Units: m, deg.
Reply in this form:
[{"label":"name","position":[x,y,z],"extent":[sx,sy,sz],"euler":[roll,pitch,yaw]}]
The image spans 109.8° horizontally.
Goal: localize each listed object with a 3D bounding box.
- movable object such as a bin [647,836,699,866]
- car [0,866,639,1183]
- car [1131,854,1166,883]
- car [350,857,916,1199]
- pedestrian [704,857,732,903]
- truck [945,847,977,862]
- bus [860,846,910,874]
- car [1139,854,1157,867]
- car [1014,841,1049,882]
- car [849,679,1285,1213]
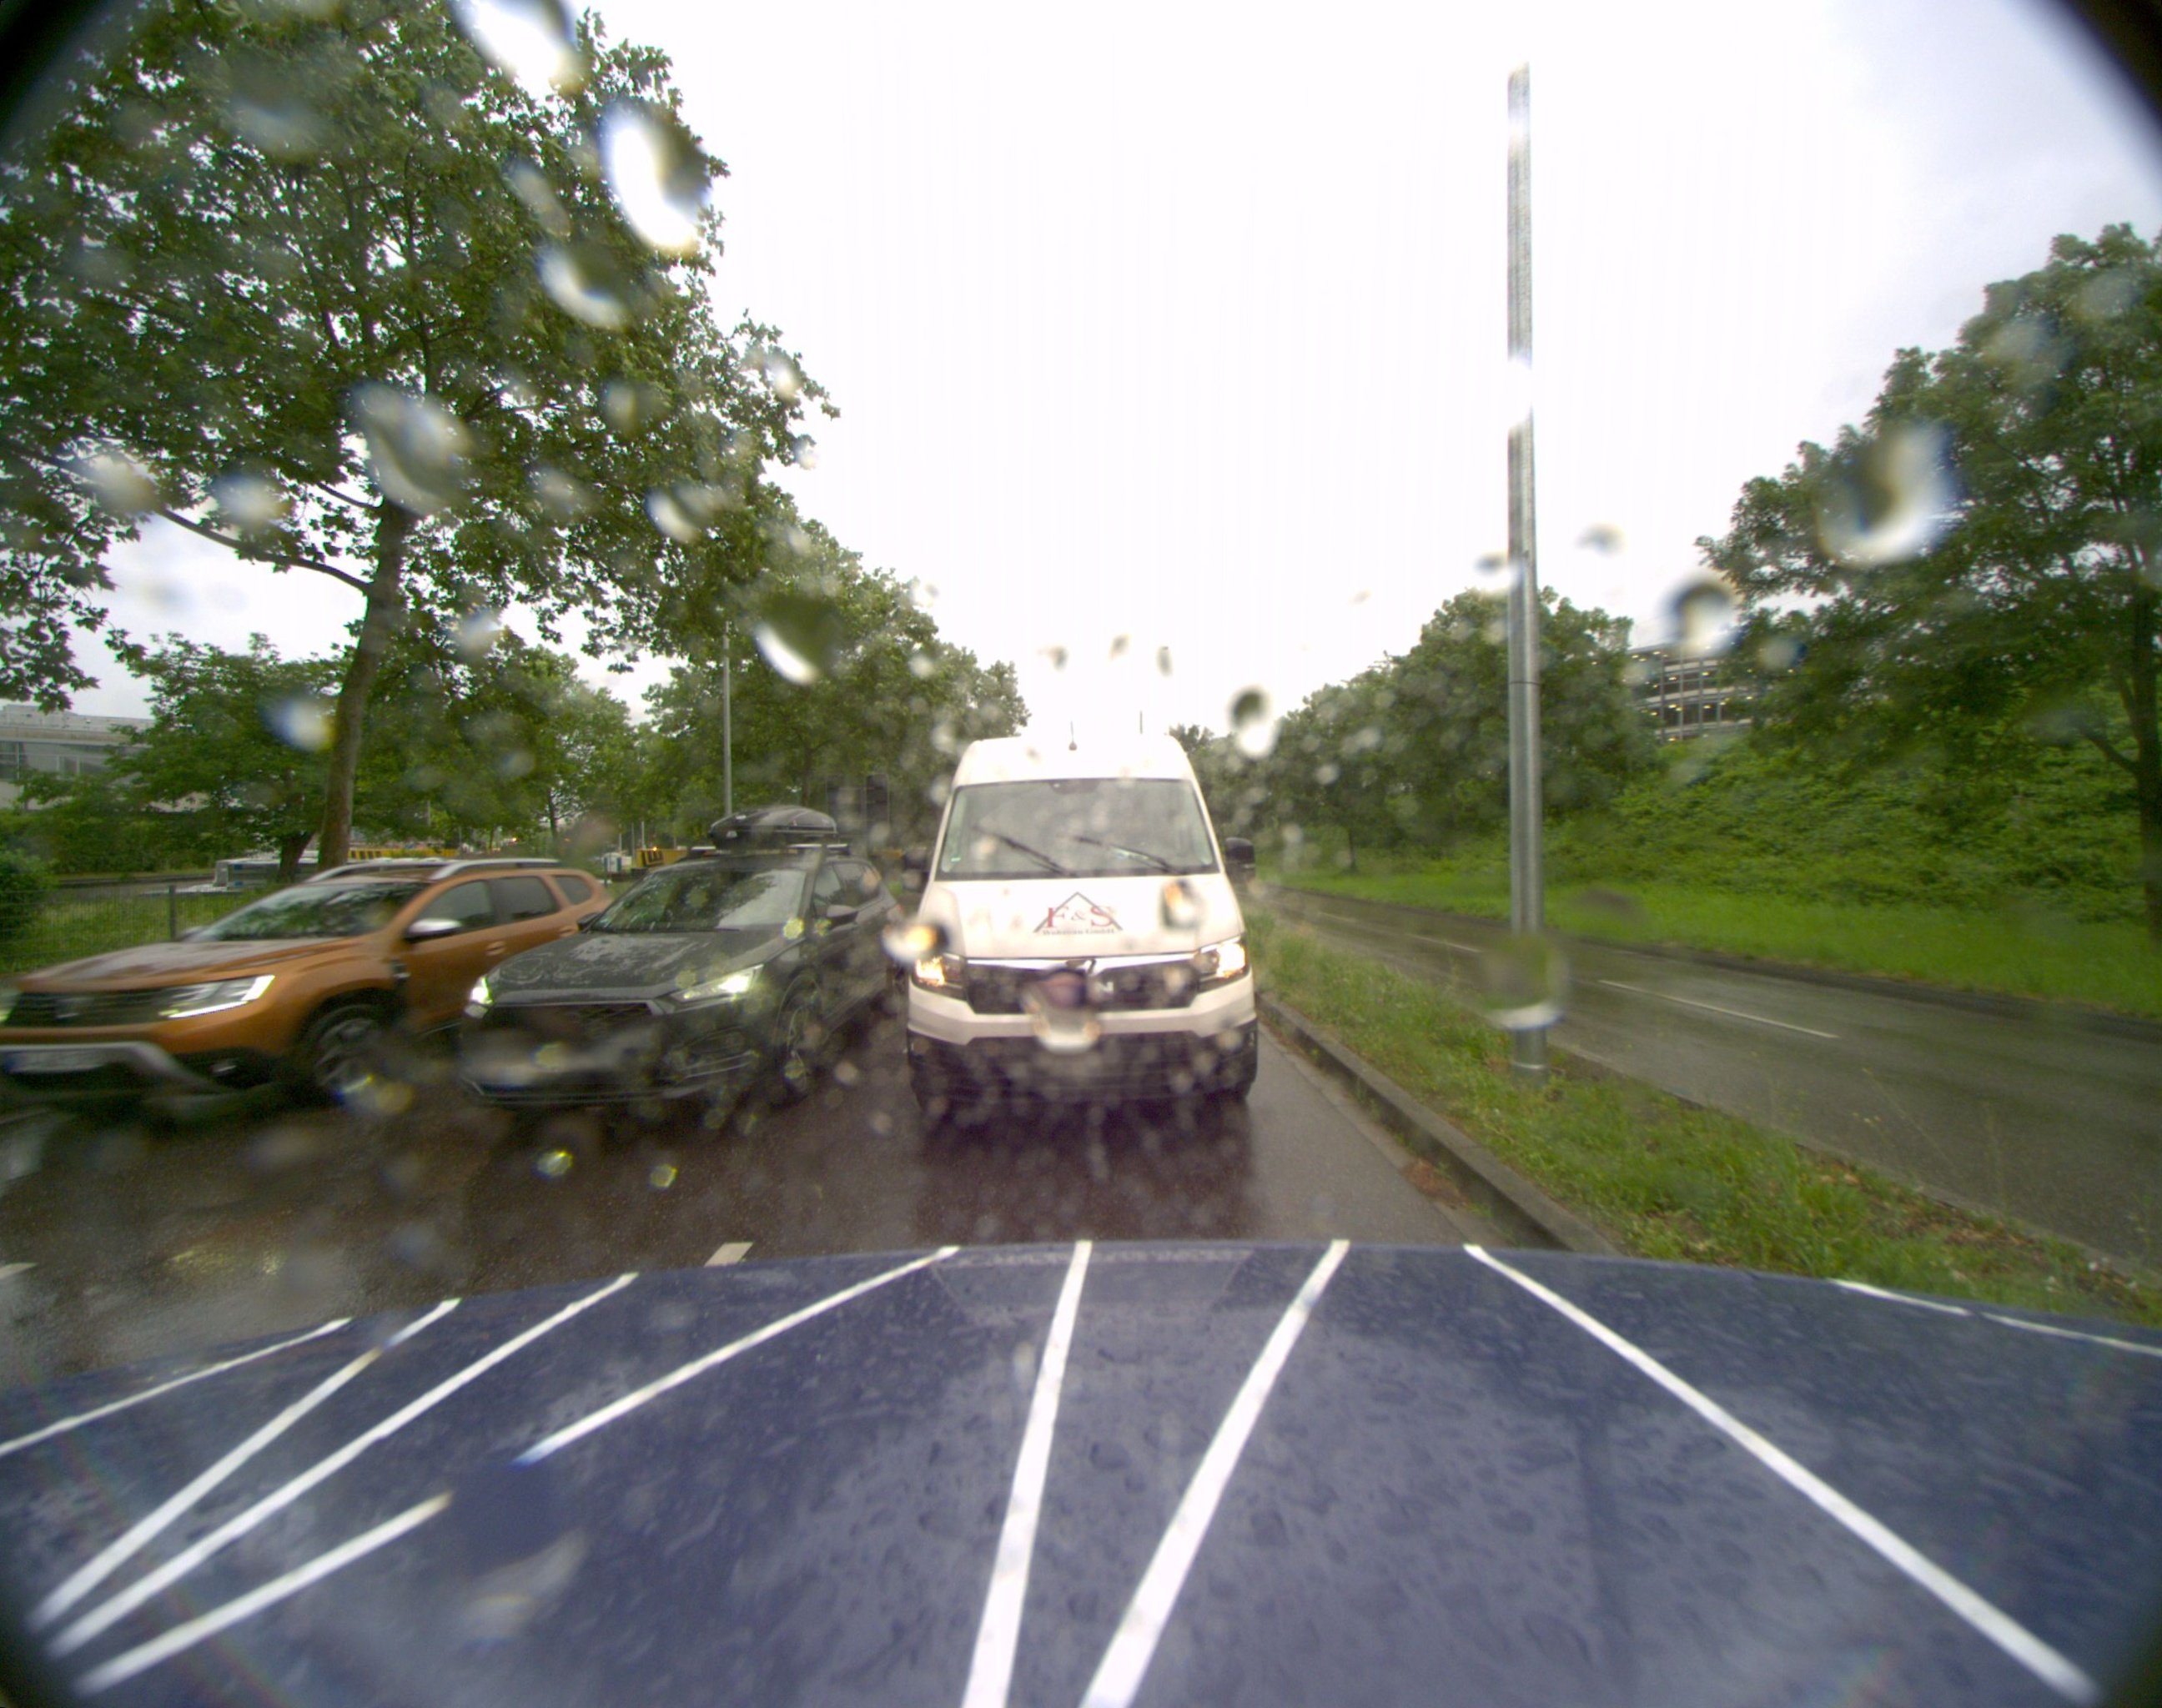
[{"label":"movable object such as a bin","position":[-48.077,-0.387,89.679],"extent":[1.913,3.415,4.947],"euler":[-1,1,39]},{"label":"car","position":[-5.778,0.994,6.287],"extent":[1.679,1.675,4.148],"euler":[-3,0,1]},{"label":"car","position":[4.061,0.840,45.986],"extent":[1.739,1.511,4.047],"euler":[2,1,0]},{"label":"car","position":[-2.764,0.902,6.099],"extent":[1.894,1.688,4.423],"euler":[-1,0,0]},{"label":"pedestrian","position":[-13.635,0.970,28.518],"extent":[0.646,1.707,0.656],"euler":[-2,1,1]},{"label":"truck","position":[-20.979,0.071,132.615],"extent":[5.061,2.363,1.792],"euler":[-3,1,-30]},{"label":"bus","position":[-19.136,0.558,74.386],"extent":[4.370,2.553,1.711],"euler":[-2,1,0]},{"label":"car","position":[8.294,0.749,94.329],"extent":[1.891,1.510,4.301],"euler":[1,0,0]},{"label":"car","position":[-3.110,0.467,48.700],"extent":[1.894,2.432,5.317],"euler":[-1,0,-1]},{"label":"car","position":[-0.109,0.429,6.453],"extent":[2.027,2.498,5.695],"euler":[-1,0,-1]}]
